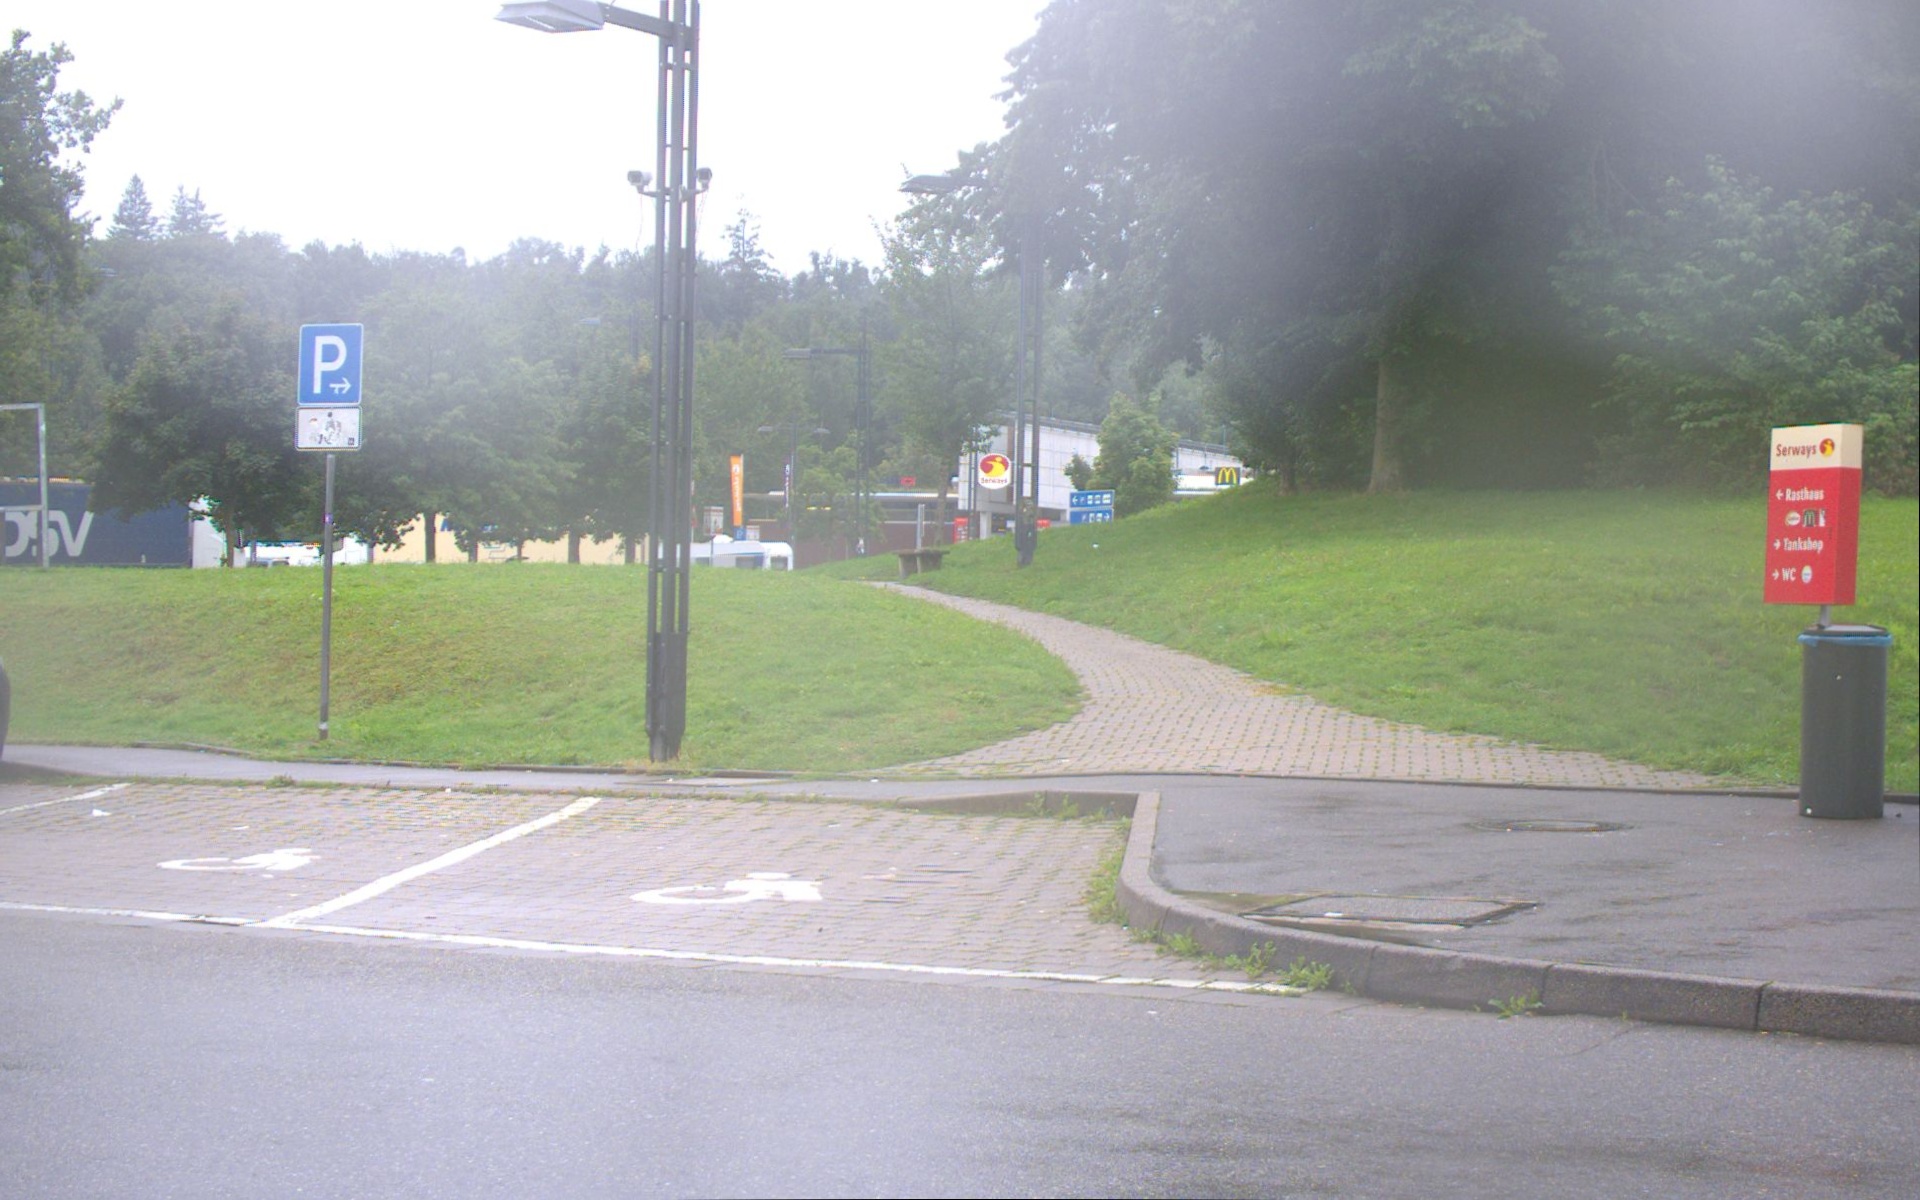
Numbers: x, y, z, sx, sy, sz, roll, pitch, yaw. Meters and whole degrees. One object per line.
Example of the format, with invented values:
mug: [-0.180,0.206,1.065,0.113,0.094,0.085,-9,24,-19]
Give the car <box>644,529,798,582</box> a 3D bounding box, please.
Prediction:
car: [-9.284,-1.747,133.691,5.429,2.007,2.453,1,1,20]

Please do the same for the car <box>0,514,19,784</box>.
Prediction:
car: [-7.767,0.370,21.450,1.885,1.821,4.411,0,1,11]
